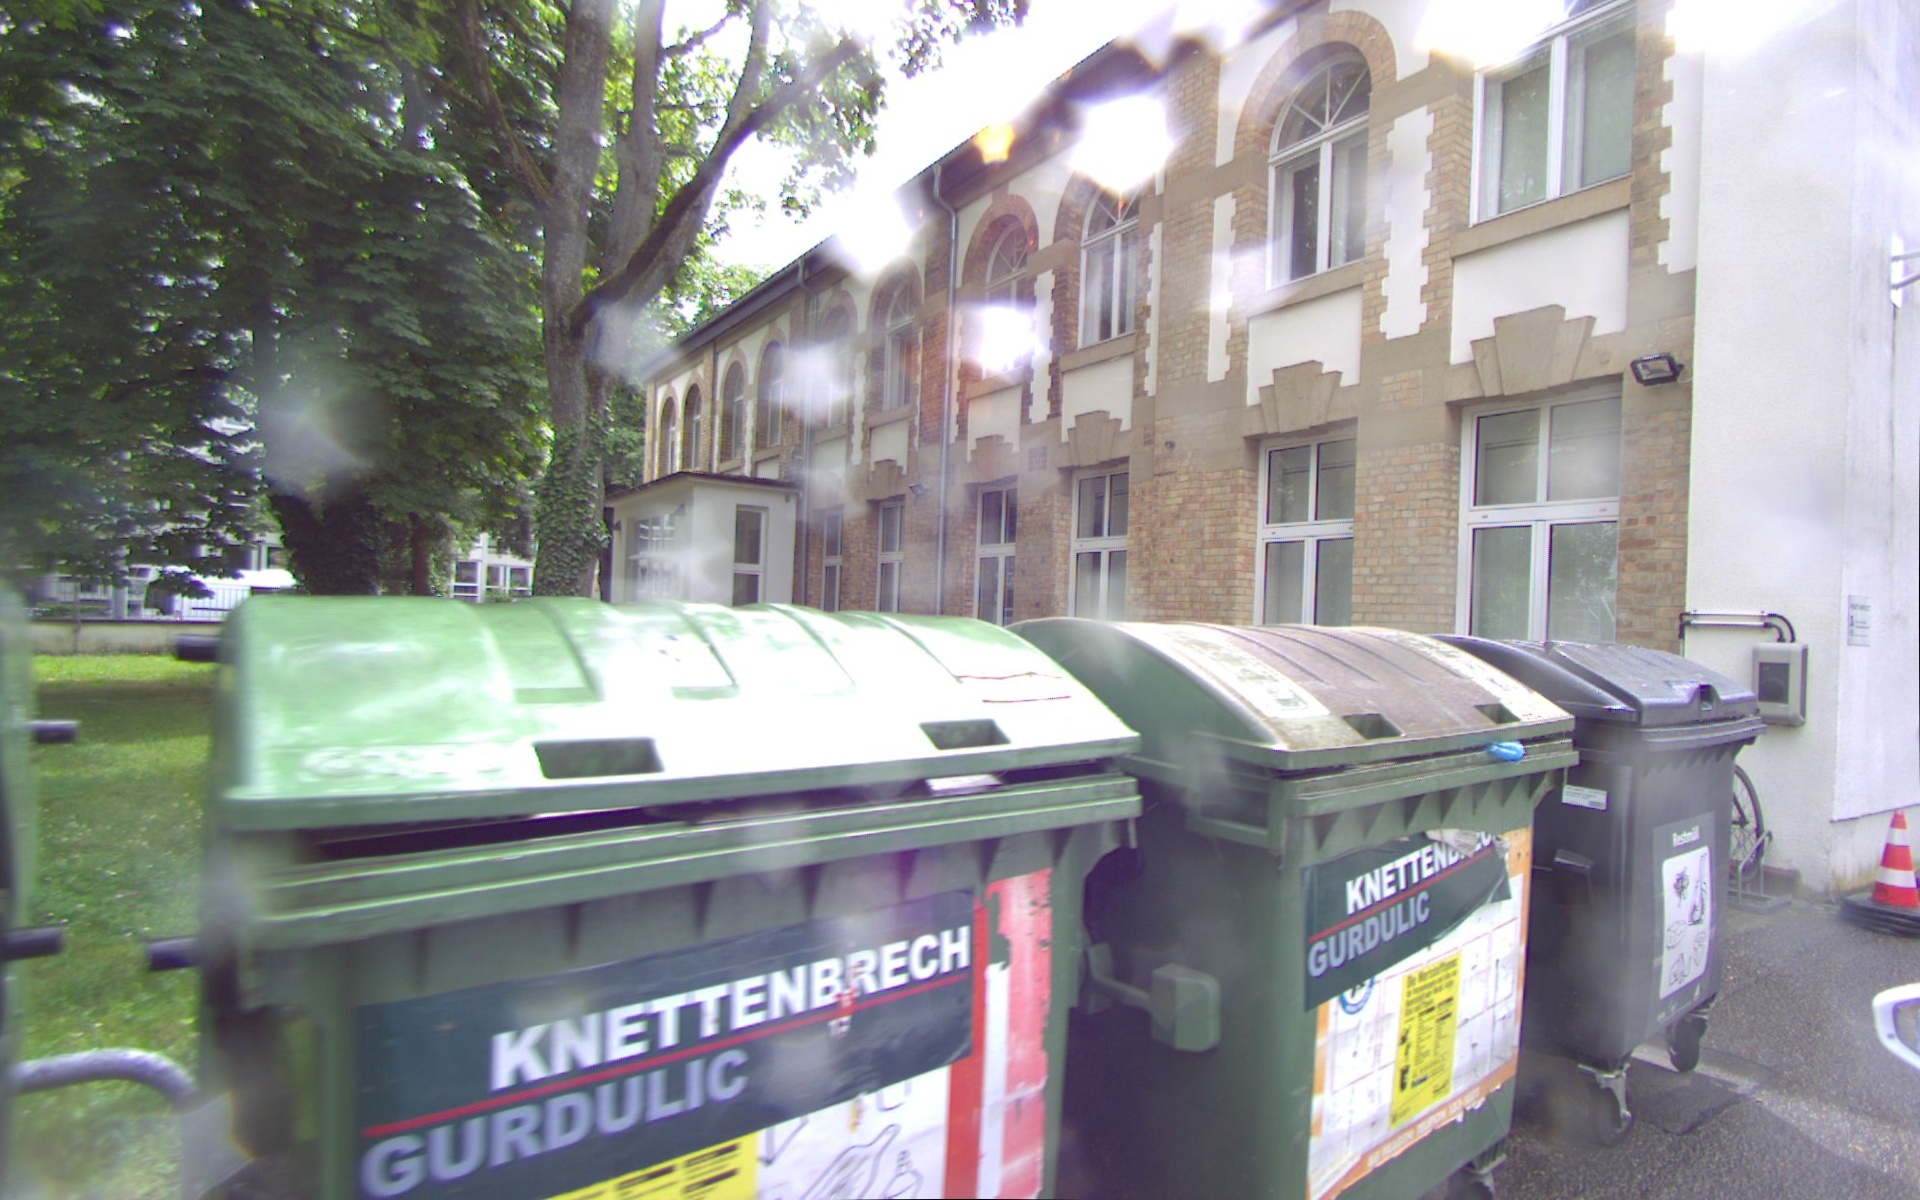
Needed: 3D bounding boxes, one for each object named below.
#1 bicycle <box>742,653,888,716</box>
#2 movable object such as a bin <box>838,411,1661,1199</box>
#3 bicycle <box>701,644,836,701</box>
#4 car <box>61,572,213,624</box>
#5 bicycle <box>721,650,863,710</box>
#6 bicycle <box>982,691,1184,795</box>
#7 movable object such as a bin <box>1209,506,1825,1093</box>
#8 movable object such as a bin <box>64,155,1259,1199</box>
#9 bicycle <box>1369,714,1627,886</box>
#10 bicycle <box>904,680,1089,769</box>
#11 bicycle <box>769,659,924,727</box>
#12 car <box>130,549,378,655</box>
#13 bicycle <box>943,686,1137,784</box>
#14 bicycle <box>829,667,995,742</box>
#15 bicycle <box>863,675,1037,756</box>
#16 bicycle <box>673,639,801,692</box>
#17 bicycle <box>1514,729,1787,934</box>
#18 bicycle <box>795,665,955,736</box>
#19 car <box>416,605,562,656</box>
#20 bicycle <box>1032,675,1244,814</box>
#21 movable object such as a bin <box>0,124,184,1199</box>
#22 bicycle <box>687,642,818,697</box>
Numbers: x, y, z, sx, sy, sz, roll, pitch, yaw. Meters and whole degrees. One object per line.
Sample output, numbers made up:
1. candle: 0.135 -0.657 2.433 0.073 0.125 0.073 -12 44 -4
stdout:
1. bicycle: -2.027 1.179 14.215 2.035 0.810 0.449 2 1 -34
2. movable object such as a bin: 0.637 0.455 2.484 1.352 1.490 1.351 2 1 -34
3. bicycle: -2.955 1.123 15.630 2.035 0.810 0.449 2 1 -34
4. car: -31.250 -0.040 38.293 4.030 1.672 1.779 4 -3 -25
5. bicycle: -2.460 1.164 14.832 2.035 0.810 0.449 2 1 -34
6. bicycle: 1.182 1.294 9.349 2.035 0.810 0.449 2 1 -34
7. movable object such as a bin: 1.874 0.506 3.485 1.352 1.490 1.351 2 1 -34
8. movable object such as a bin: -0.505 0.407 1.712 1.338 1.490 1.351 2 1 -34
9. bicycle: 3.336 1.161 6.144 2.035 0.810 0.449 2 1 -34
10. bicycle: 0.418 1.274 10.575 2.035 0.810 0.449 2 1 -34
11. bicycle: -1.483 1.217 13.367 2.035 0.810 0.449 2 1 -34
12. car: -19.207 0.145 27.641 2.056 2.615 5.075 2 -2 28
13. bicycle: 0.824 1.290 9.871 2.035 0.810 0.449 2 1 -34
14. bicycle: -0.551 1.238 12.141 2.035 0.810 0.449 2 1 -34
15. bicycle: -0.081 1.281 11.399 2.035 0.810 0.449 2 1 -34
16. bicycle: -3.689 1.087 16.728 2.035 0.810 0.449 2 1 -34
17. bicycle: 3.753 1.166 5.384 2.035 0.810 0.449 2 1 -34
18. bicycle: -1.047 1.242 12.727 2.035 0.810 0.449 2 1 -34
19. car: -15.796 1.069 33.899 1.877 1.542 4.138 2 -2 28
20. bicycle: 1.591 1.207 8.753 2.035 1.052 0.449 2 1 -34
21. movable object such as a bin: -1.677 0.357 0.873 1.450 1.490 1.351 2 1 -34
22. bicycle: -3.319 1.112 16.189 2.035 0.810 0.449 2 1 -34
